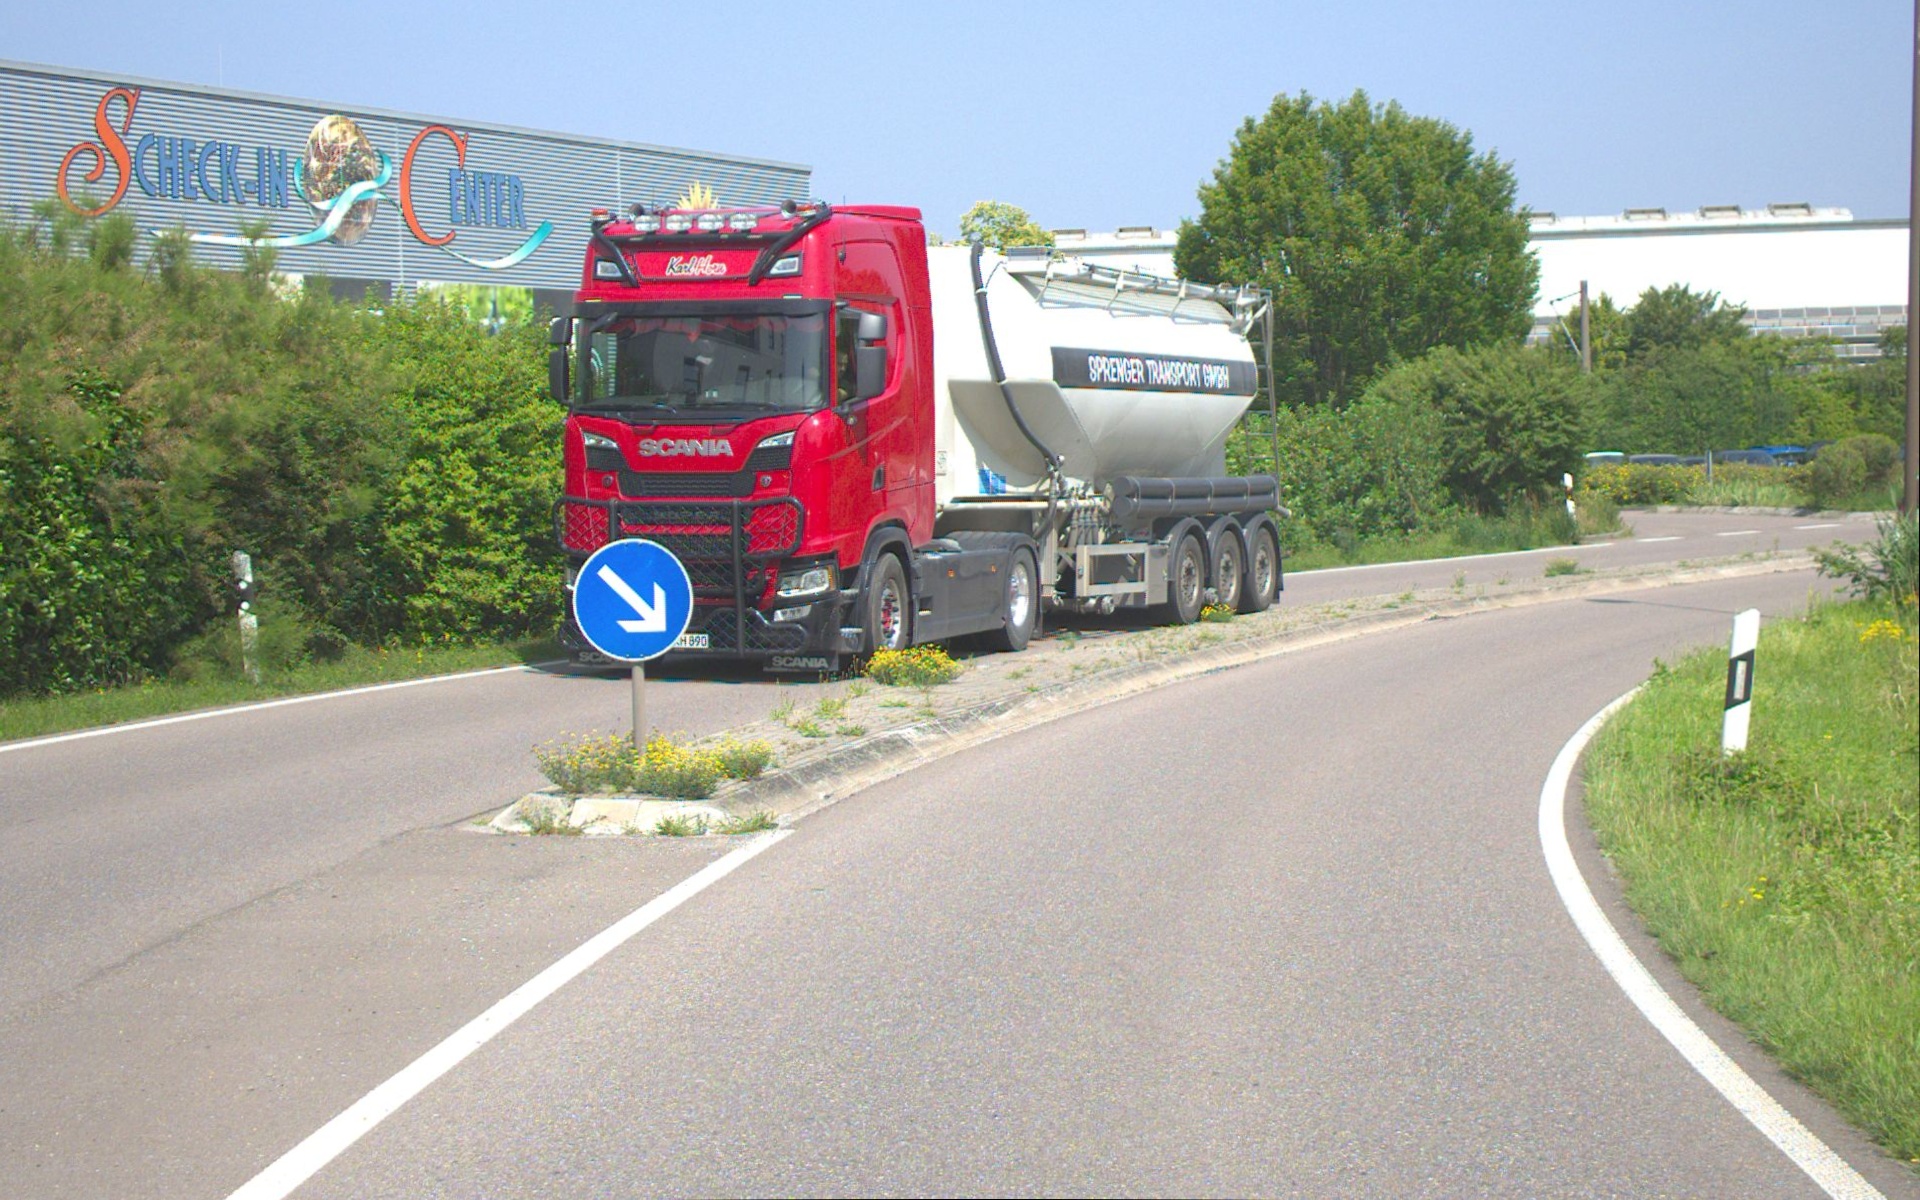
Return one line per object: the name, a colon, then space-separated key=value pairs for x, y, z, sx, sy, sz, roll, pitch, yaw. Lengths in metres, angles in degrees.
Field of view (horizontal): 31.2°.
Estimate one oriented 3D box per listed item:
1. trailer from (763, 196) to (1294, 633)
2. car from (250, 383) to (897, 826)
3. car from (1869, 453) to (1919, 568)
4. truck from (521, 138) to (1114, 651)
trailer: x=0.995 y=-1.772 z=36.259 sx=2.882 sy=4.016 sz=8.687 roll=0 pitch=1 yaw=20
car: x=-1.836 y=-0.006 z=17.745 sx=1.995 sy=2.007 sz=3.997 roll=0 pitch=1 yaw=15
car: x=15.104 y=-1.219 z=51.556 sx=1.784 sy=1.597 sz=3.886 roll=6 pitch=2 yaw=29
truck: x=-1.037 y=-1.657 z=30.608 sx=2.884 sy=4.016 sz=6.715 roll=0 pitch=1 yaw=20
